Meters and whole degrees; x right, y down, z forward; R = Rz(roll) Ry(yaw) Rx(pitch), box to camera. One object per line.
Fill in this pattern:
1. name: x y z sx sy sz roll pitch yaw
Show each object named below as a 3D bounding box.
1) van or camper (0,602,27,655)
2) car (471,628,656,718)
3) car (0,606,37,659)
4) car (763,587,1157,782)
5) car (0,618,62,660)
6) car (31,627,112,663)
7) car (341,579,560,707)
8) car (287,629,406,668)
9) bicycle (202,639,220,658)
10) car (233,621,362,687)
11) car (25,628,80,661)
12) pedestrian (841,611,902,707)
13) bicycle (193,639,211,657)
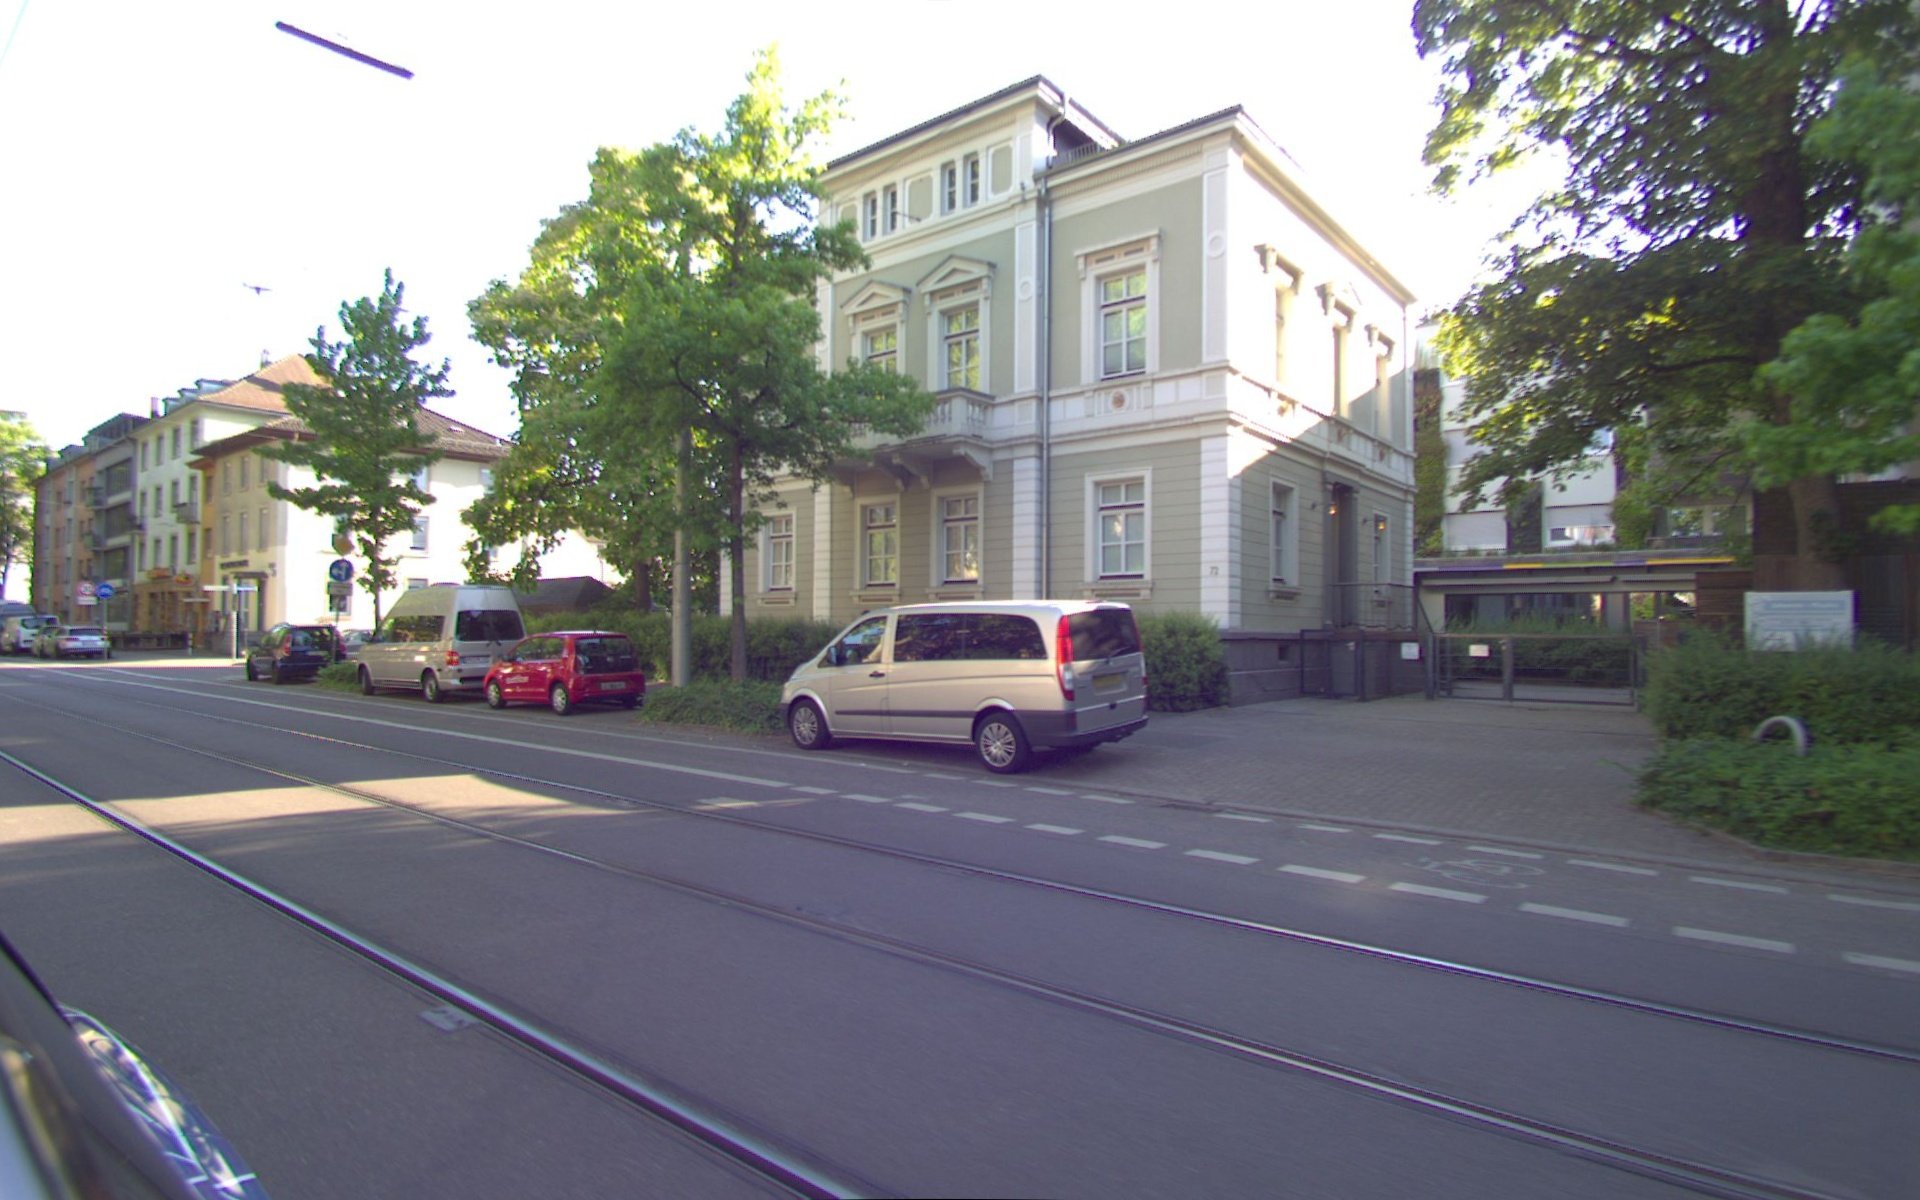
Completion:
1. van or camper: -57.770 1.712 60.328 5.987 2.999 2.393 -1 1 41
2. car: -7.606 1.318 19.282 3.703 1.551 1.668 -1 -3 39
3. car: -52.663 1.777 55.817 4.542 2.767 1.904 -1 1 40
4. car: -0.176 0.943 12.748 4.984 2.004 1.825 -1 -3 41
5. car: -47.988 1.983 51.999 4.935 2.062 1.904 -1 -2 39
6. car: -39.881 1.987 45.404 4.933 1.504 1.755 -1 -2 37
7. car: -11.414 0.929 22.525 5.336 2.527 2.282 -1 -3 38
8. car: -26.619 2.103 43.997 1.966 1.630 4.017 -2 -3 43
9. bicycle: -37.846 2.441 51.126 1.646 0.935 0.358 -1 -3 40
10. car: -18.595 1.471 28.330 4.260 1.703 1.971 -2 -3 42
11. car: -43.440 2.100 48.421 2.880 1.504 1.555 -1 -2 40
12. pedestrian: -1.589 1.041 18.180 0.947 1.674 0.598 -2 -2 41
13. bicycle: -39.122 2.482 52.218 1.646 0.935 0.358 -1 -3 40
